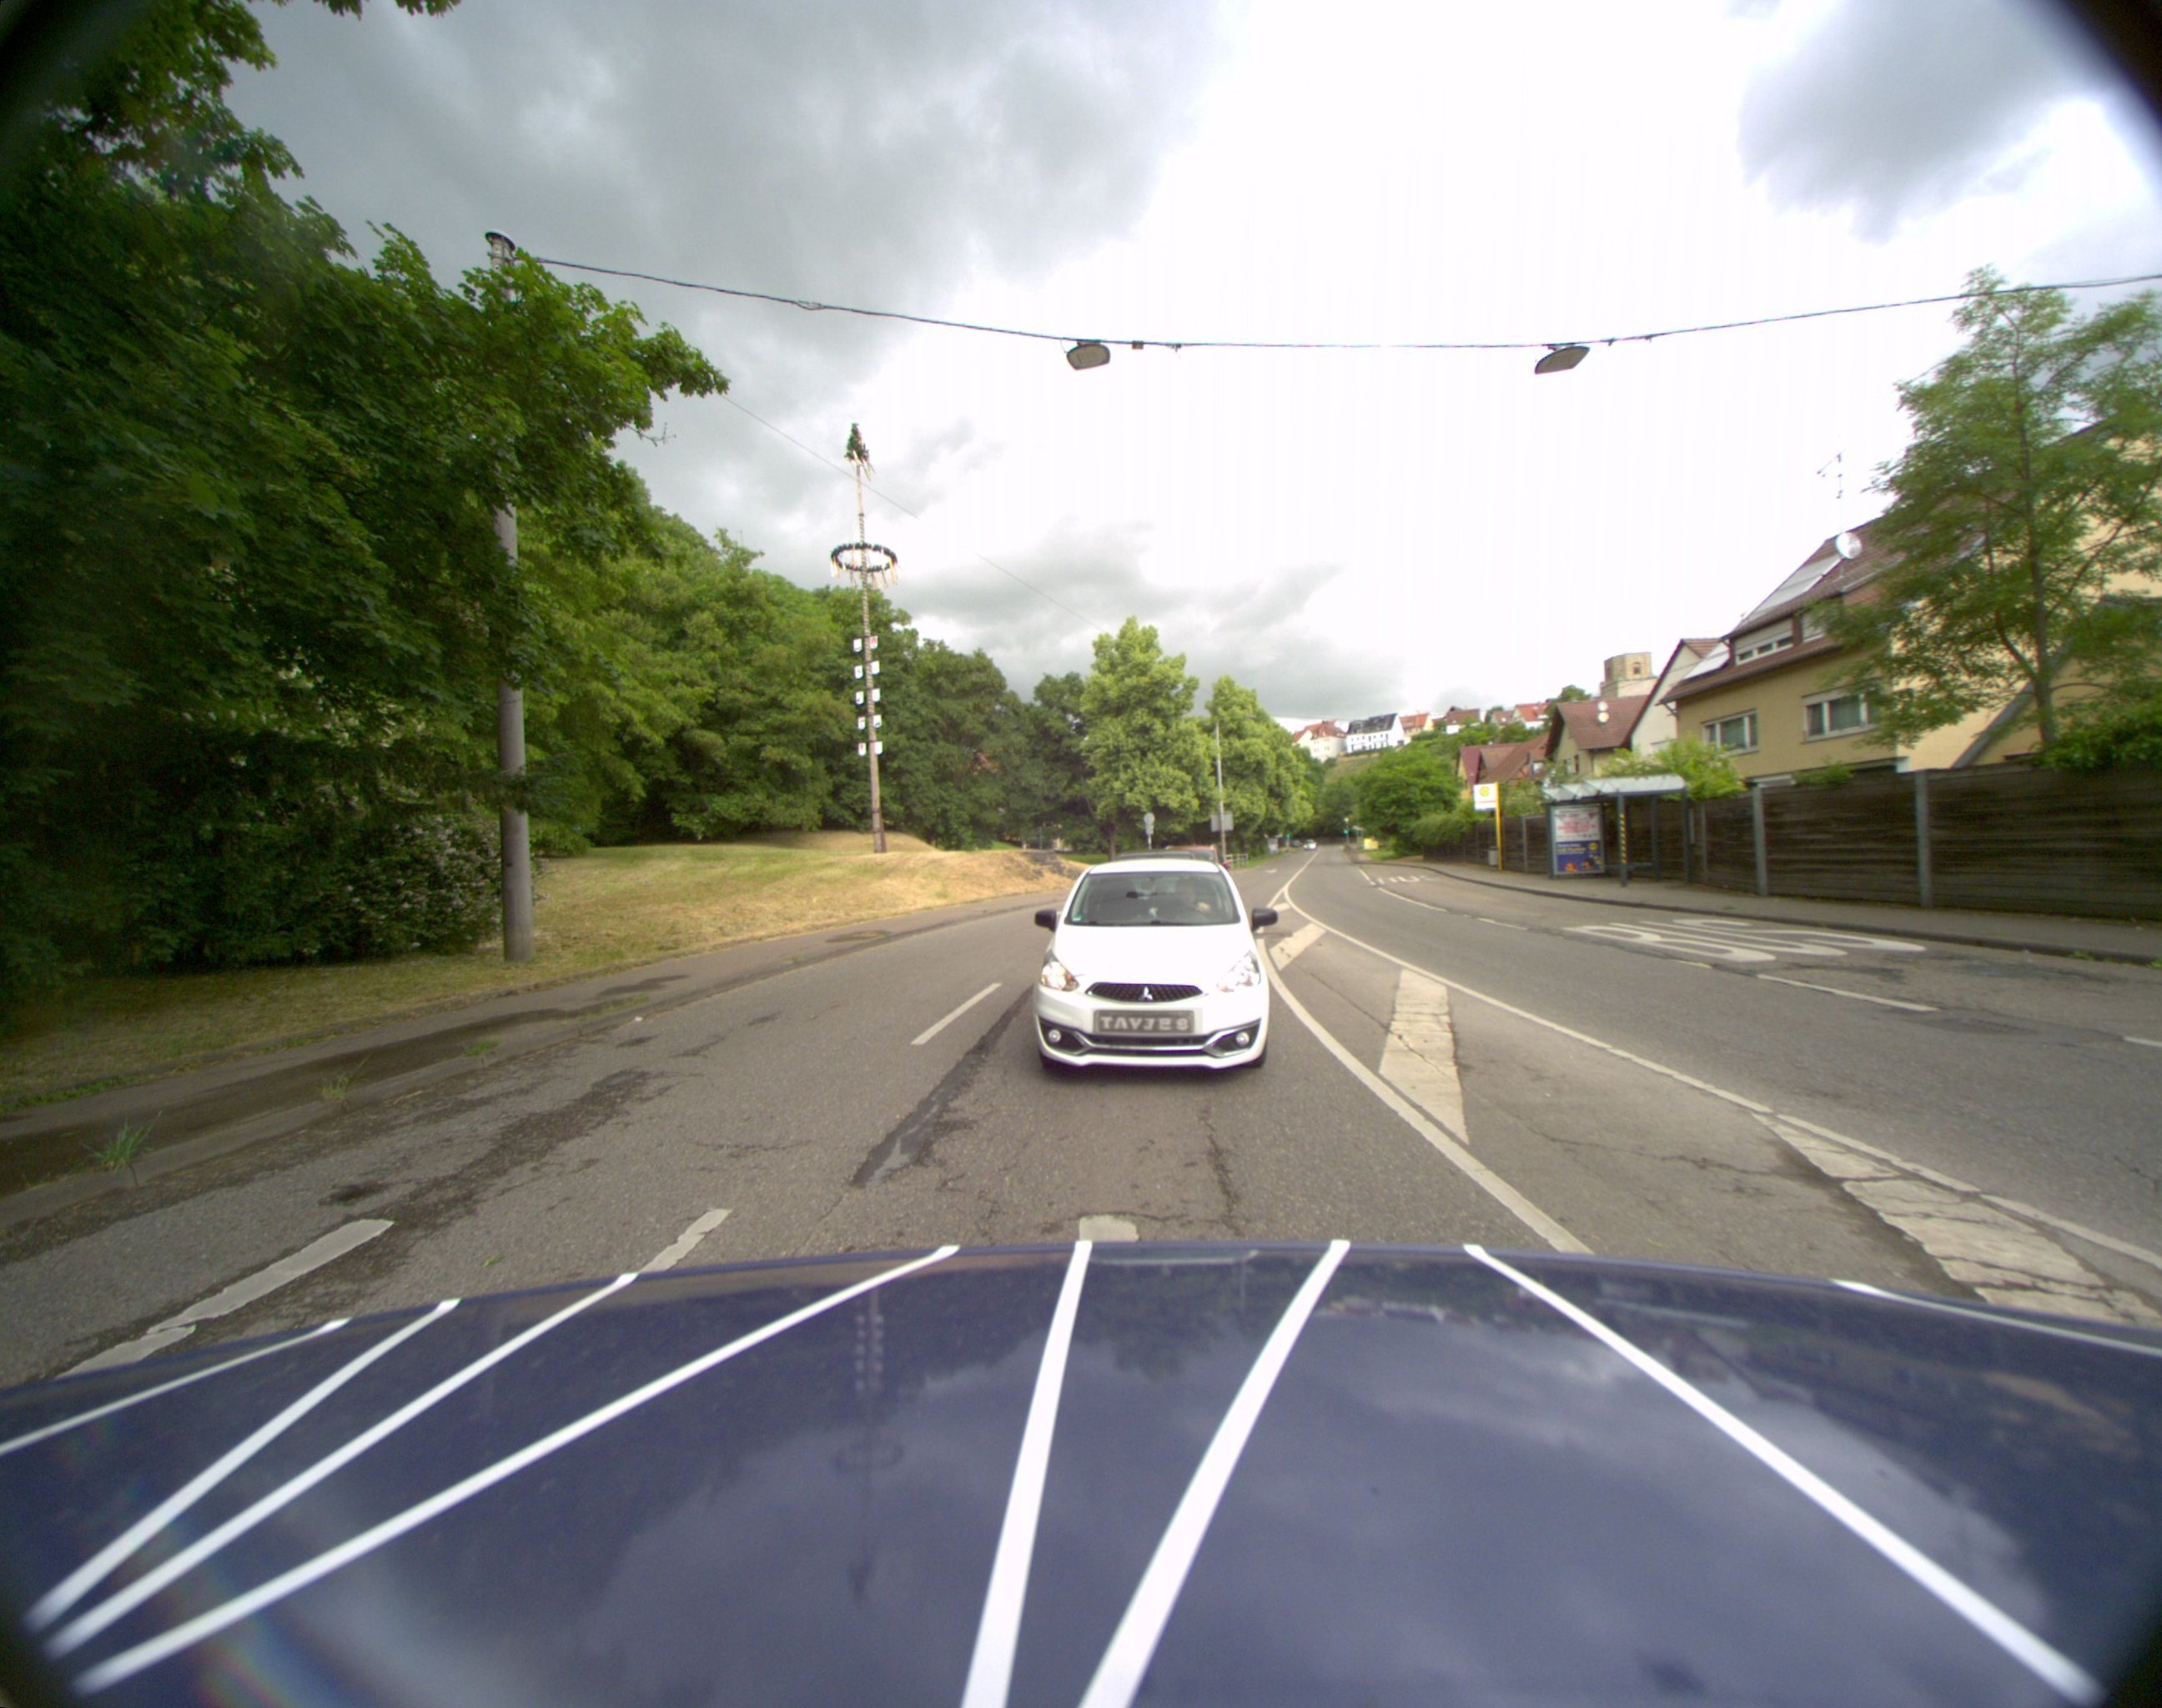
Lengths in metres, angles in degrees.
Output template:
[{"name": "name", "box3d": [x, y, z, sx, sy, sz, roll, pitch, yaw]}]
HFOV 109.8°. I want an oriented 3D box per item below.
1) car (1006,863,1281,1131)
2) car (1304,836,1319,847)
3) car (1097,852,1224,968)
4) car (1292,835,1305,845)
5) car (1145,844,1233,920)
[{"name": "car", "box3d": [0.643, 0.910, 6.429, 1.617, 1.505, 3.607, -2, 1, 9]}, {"name": "car", "box3d": [37.271, -2.041, 123.060, 1.844, 1.630, 4.002, -2, 1, 10]}, {"name": "car", "box3d": [1.397, 0.796, 12.586, 1.723, 1.539, 3.784, -2, 1, 9]}, {"name": "car", "box3d": [45.161, -2.898, 157.809, 1.910, 1.745, 4.001, -3, 0, 5]}, {"name": "car", "box3d": [2.862, 0.634, 19.458, 1.826, 1.662, 4.061, -2, 1, 13]}]
